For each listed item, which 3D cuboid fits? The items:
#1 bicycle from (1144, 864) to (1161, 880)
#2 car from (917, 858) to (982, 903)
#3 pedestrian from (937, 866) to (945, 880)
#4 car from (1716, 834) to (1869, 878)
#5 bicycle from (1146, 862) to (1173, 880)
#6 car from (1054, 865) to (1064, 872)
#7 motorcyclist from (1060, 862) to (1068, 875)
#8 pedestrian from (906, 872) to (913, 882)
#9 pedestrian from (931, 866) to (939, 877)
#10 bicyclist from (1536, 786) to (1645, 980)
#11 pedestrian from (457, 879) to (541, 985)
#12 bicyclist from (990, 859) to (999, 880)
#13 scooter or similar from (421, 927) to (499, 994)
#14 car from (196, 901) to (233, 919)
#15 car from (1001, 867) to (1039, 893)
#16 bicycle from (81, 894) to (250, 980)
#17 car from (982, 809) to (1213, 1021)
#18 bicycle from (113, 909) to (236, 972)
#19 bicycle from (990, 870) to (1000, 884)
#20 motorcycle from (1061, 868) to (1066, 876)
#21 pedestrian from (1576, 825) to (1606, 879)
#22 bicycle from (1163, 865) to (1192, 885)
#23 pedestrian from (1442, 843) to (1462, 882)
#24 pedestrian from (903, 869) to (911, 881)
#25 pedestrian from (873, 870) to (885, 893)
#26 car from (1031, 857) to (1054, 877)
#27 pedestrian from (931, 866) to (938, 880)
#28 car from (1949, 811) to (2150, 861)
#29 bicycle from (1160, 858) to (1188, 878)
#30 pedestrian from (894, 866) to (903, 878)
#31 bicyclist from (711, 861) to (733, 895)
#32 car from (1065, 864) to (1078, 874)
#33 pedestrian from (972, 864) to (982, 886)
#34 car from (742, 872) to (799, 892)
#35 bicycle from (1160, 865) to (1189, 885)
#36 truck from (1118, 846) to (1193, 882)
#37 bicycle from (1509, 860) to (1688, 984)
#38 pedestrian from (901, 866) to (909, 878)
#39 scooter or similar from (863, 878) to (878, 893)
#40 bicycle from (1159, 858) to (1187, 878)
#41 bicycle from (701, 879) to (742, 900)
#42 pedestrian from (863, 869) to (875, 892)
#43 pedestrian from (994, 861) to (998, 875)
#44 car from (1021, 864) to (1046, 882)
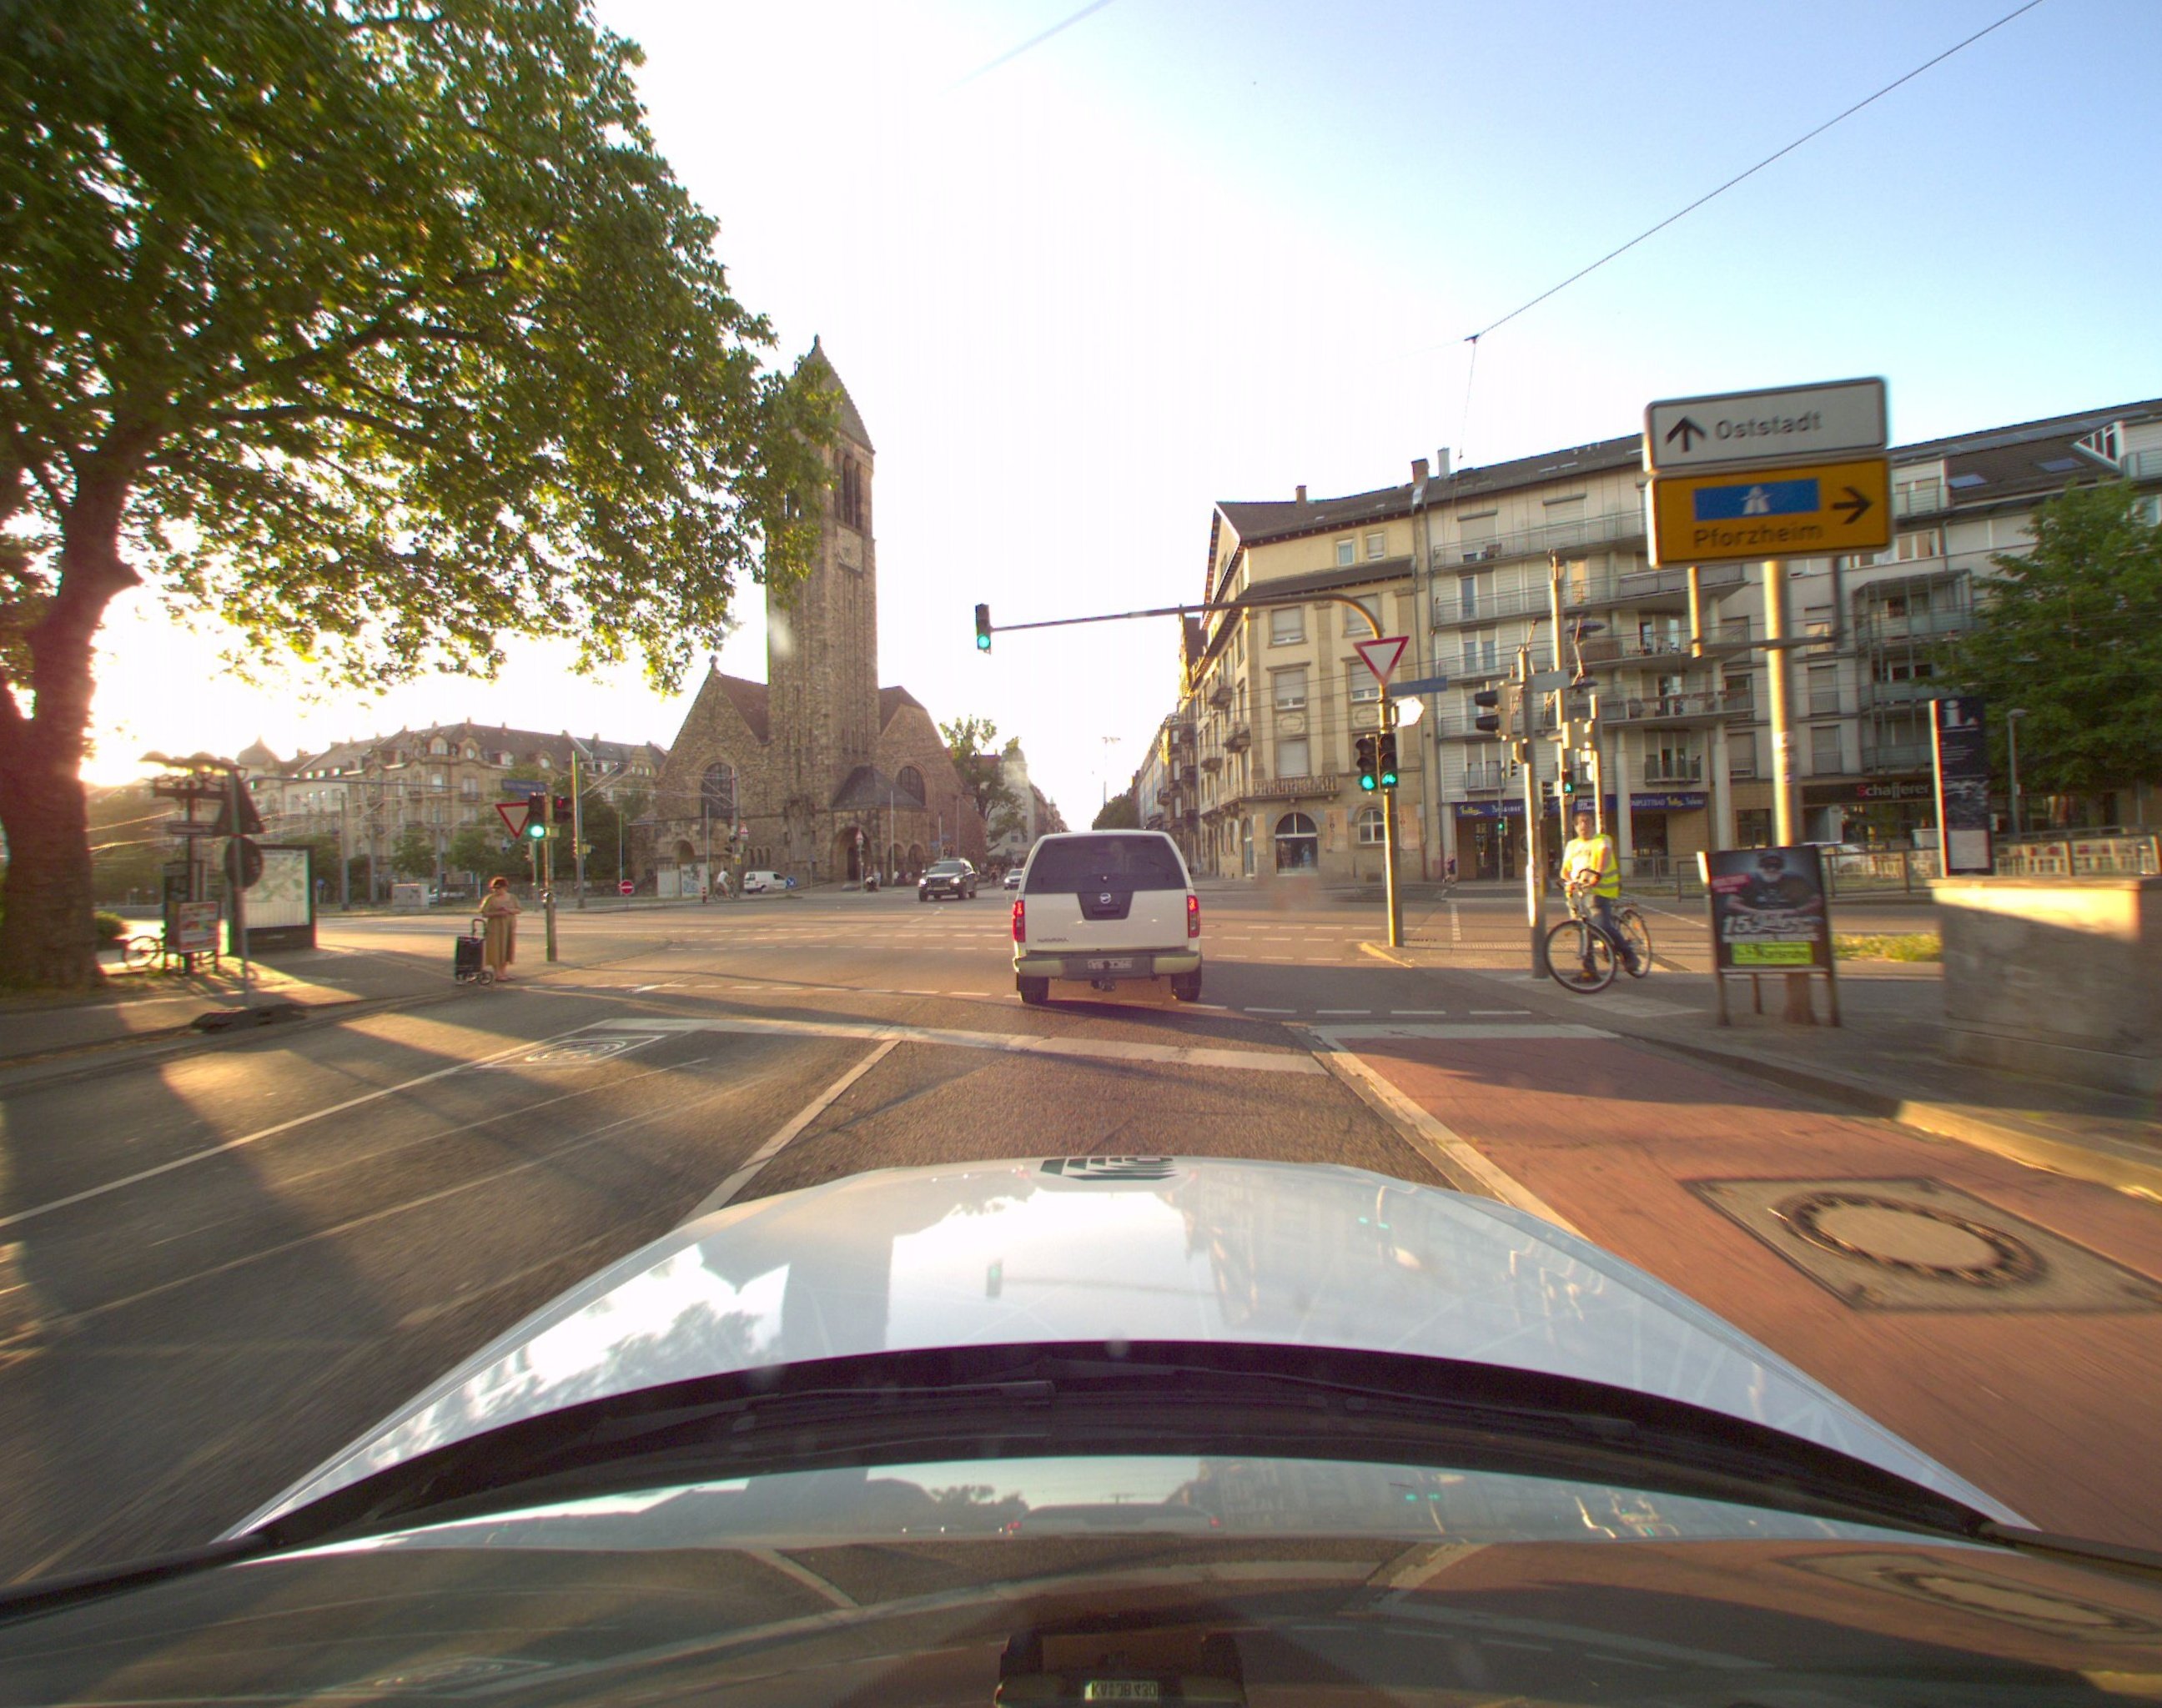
[{"bbox_3d":[4.914,1.226,56.189,1.073,1.024,0.317,-5,-1,-1],"label":"bicycle"},{"bbox_3d":[-5.668,1.103,35.628,1.986,1.784,4.798,0,0,1],"label":"car"},{"bbox_3d":[-12.977,1.770,75.333,0.474,1.245,0.526,-2,-1,19],"label":"pedestrian"},{"bbox_3d":[26.493,0.099,30.510,3.950,1.486,1.860,-2,-1,26],"label":"car"},{"bbox_3d":[5.299,1.157,55.294,1.721,1.083,0.317,-5,-1,-1],"label":"bicycle"},{"bbox_3d":[-4.737,3.102,177.510,1.852,1.529,4.001,-1,-1,1],"label":"car"},{"bbox_3d":[-2.145,1.899,103.643,0.871,1.645,0.963,-1,-1,1],"label":"motorcyclist"},{"bbox_3d":[-16.662,2.226,79.162,0.550,0.960,0.708,-1,-1,-4],"label":"pedestrian"},{"bbox_3d":[-13.193,1.560,73.617,0.517,0.960,0.482,-2,-1,19],"label":"pedestrian"},{"bbox_3d":[5.071,0.273,8.121,0.701,1.824,0.622,0,-2,-30],"label":"bicyclist"},{"bbox_3d":[-9.365,1.237,13.133,0.800,1.628,0.773,-1,-1,-3],"label":"pedestrian"},{"bbox_3d":[-6.794,1.232,63.969,0.597,1.645,0.963,-1,-1,1],"label":"bicyclist"},{"bbox_3d":[-9.343,1.581,12.278,0.591,0.898,0.849,-1,-1,-8],"label":"scooter or similar"},{"bbox_3d":[-103.028,6.608,96.830,3.949,2.014,2.012,-2,-1,28],"label":"car"},{"bbox_3d":[-4.382,1.869,59.333,1.985,1.558,4.774,-4,0,4],"label":"car"},{"bbox_3d":[-15.894,1.400,14.227,0.522,1.326,1.998,-1,-1,7],"label":"bicycle"},{"bbox_3d":[0.219,0.565,9.088,1.986,1.809,4.002,-1,-1,2],"label":"car"},{"bbox_3d":[-18.099,1.689,16.321,0.456,1.093,1.799,-1,-1,0],"label":"bicycle"},{"bbox_3d":[-6.756,1.797,64.041,0.597,1.043,1.946,-1,-1,1],"label":"bicycle"},{"bbox_3d":[-2.212,2.313,103.525,0.597,1.043,1.946,-1,-1,1],"label":"motorcycle"},{"bbox_3d":[21.258,-0.078,33.959,0.860,2.209,0.825,-2,-1,22],"label":"pedestrian"},{"bbox_3d":[6.502,1.414,54.785,1.812,1.150,0.636,-5,-1,-1],"label":"bicycle"},{"bbox_3d":[17.345,0.404,38.113,0.779,1.779,0.547,-2,-2,27],"label":"pedestrian"},{"bbox_3d":[-14.758,1.786,69.118,0.473,0.960,0.526,-2,-2,32],"label":"pedestrian"},{"bbox_3d":[-15.155,2.067,61.122,0.629,1.698,0.605,-1,-1,13],"label":"pedestrian"},{"bbox_3d":[-4.024,1.345,86.293,1.986,2.014,4.951,-3,-1,1],"label":"car"},{"bbox_3d":[-13.435,1.728,74.714,0.474,1.245,0.526,-2,-1,19],"label":"pedestrian"},{"bbox_3d":[32.693,-0.565,27.648,3.952,1.486,1.859,-2,-1,22],"label":"car"},{"bbox_3d":[6.496,0.966,57.174,1.812,1.238,0.412,-5,-1,-1],"label":"bicycle"},{"bbox_3d":[-15.295,1.506,68.244,0.517,0.960,0.482,-2,-1,21],"label":"pedestrian"},{"bbox_3d":[-19.699,1.329,44.707,0.651,1.827,0.864,-2,1,22],"label":"bicyclist"},{"bbox_3d":[-1.549,2.440,132.283,1.852,1.529,4.001,-1,-1,1],"label":"car"},{"bbox_3d":[-9.294,1.878,72.782,0.809,1.901,0.666,-1,-1,0],"label":"pedestrian"},{"bbox_3d":[-25.964,2.340,68.159,1.698,1.517,4.482,-2,-1,26],"label":"car"},{"bbox_3d":[6.418,1.426,55.728,1.812,1.238,0.488,-5,-1,-1],"label":"bicycle"},{"bbox_3d":[5.635,0.764,61.392,5.704,2.565,2.260,-1,-1,-41],"label":"truck"},{"bbox_3d":[5.252,0.631,8.218,2.078,1.109,0.622,-1,-1,-30],"label":"bicycle"},{"bbox_3d":[-14.686,1.488,67.949,0.517,0.960,0.482,-2,-1,21],"label":"pedestrian"},{"bbox_3d":[-15.572,2.336,60.258,0.629,1.103,1.082,-3,-2,13],"label":"scooter or similar"},{"bbox_3d":[6.367,0.989,56.451,1.812,1.238,0.477,-5,-1,-1],"label":"bicycle"},{"bbox_3d":[-19.755,1.924,44.788,0.651,1.078,2.257,-1,0,22],"label":"bicycle"},{"bbox_3d":[-15.901,2.006,61.193,0.629,1.698,0.605,-1,-1,13],"label":"pedestrian"},{"bbox_3d":[-10.415,1.738,99.817,0.559,1.695,0.643,-1,-1,-6],"label":"pedestrian"},{"bbox_3d":[-4.374,1.750,75.752,1.986,1.477,4.140,-3,-1,1],"label":"car"}]
